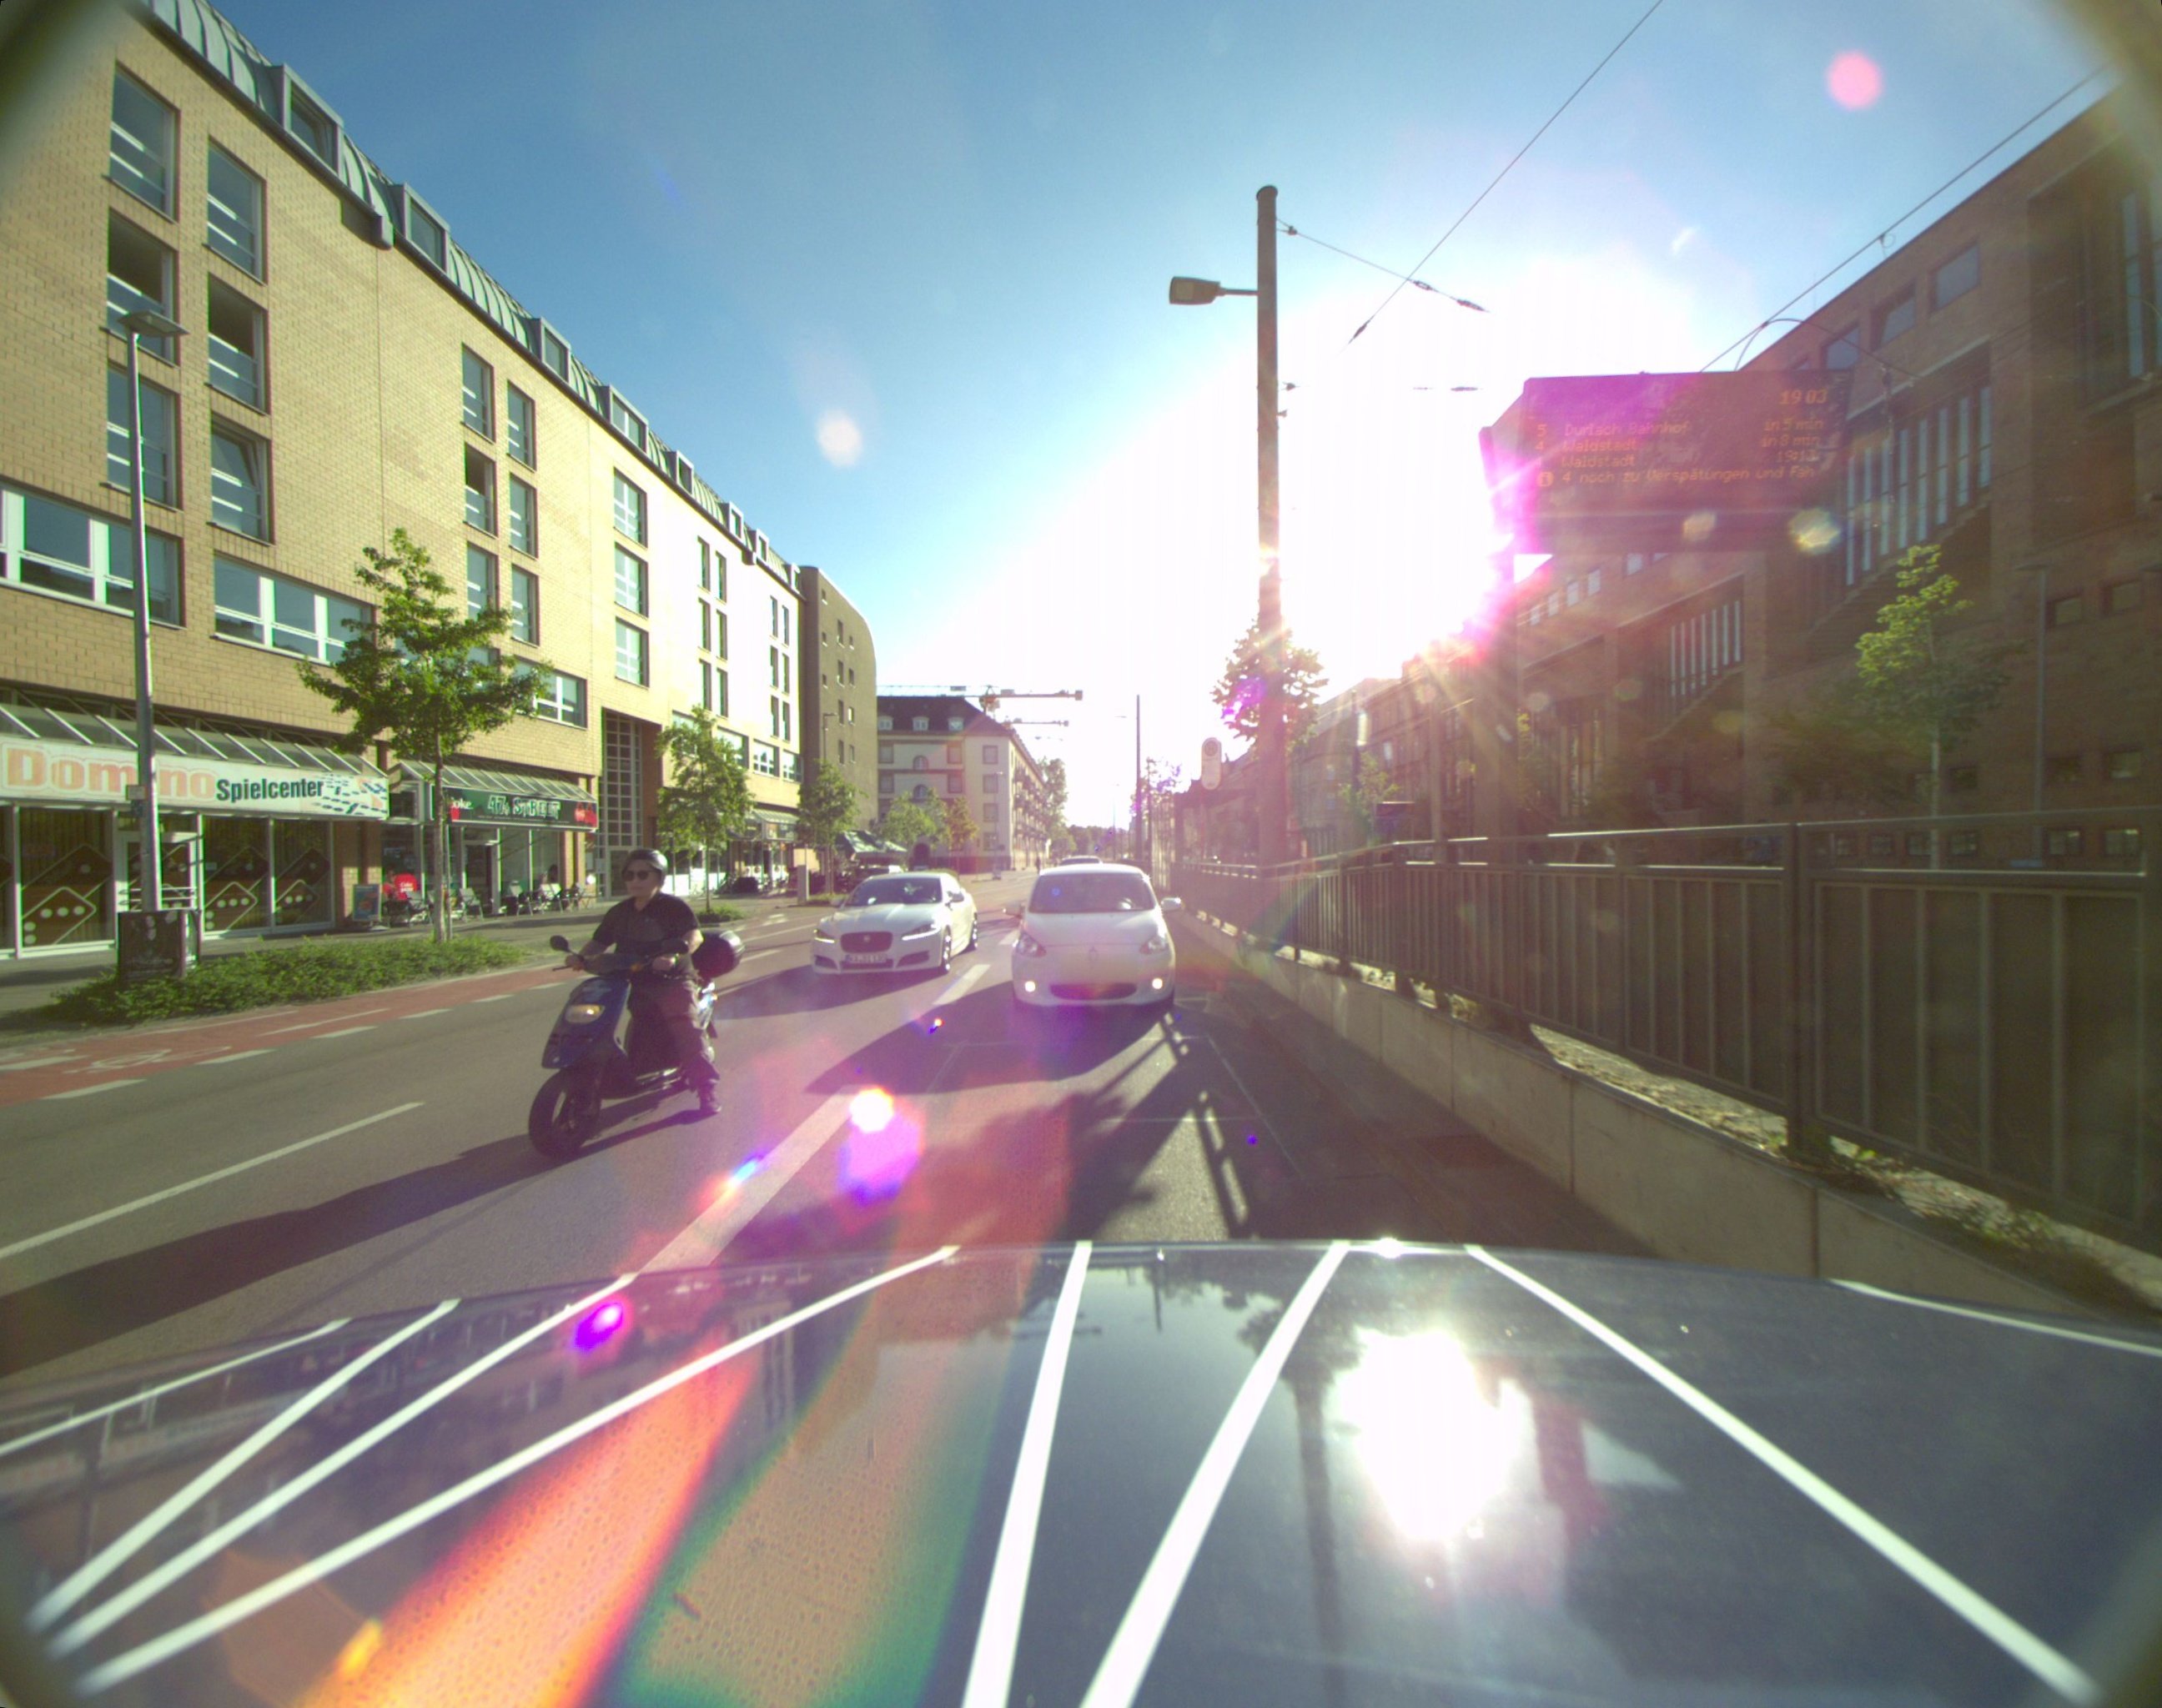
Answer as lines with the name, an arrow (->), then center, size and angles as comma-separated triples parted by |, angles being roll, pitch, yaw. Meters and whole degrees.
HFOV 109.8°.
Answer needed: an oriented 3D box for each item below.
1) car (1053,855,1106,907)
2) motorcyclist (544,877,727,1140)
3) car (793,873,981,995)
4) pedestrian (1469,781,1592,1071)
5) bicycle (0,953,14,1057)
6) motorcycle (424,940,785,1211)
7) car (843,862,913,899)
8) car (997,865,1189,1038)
car -> -0.051, 0.899, 27.393 | 1.720, 1.591, 4.215 | -2, 1, 0
motorcyclist -> -2.858, 0.960, 4.934 | 0.798, 1.571, 0.529 | -2, 1, 0
car -> -2.772, 1.083, 11.939 | 1.808, 1.421, 4.452 | -1, 0, 0
pedestrian -> 3.963, 0.606, 6.735 | 0.626, 2.428, 0.685 | -2, 1, -1
bicycle -> -11.904, 1.529, 7.870 | 1.835, 1.050, 0.351 | 1, 2, 15
motorcycle -> -2.861, 1.254, 5.015 | 0.806, 1.044, 2.375 | -2, 1, 1
car -> -9.801, 1.242, 36.956 | 1.778, 1.630, 4.003 | 2, 0, 9
car -> 0.109, 0.933, 9.145 | 1.720, 1.422, 4.215 | -2, 1, 0
